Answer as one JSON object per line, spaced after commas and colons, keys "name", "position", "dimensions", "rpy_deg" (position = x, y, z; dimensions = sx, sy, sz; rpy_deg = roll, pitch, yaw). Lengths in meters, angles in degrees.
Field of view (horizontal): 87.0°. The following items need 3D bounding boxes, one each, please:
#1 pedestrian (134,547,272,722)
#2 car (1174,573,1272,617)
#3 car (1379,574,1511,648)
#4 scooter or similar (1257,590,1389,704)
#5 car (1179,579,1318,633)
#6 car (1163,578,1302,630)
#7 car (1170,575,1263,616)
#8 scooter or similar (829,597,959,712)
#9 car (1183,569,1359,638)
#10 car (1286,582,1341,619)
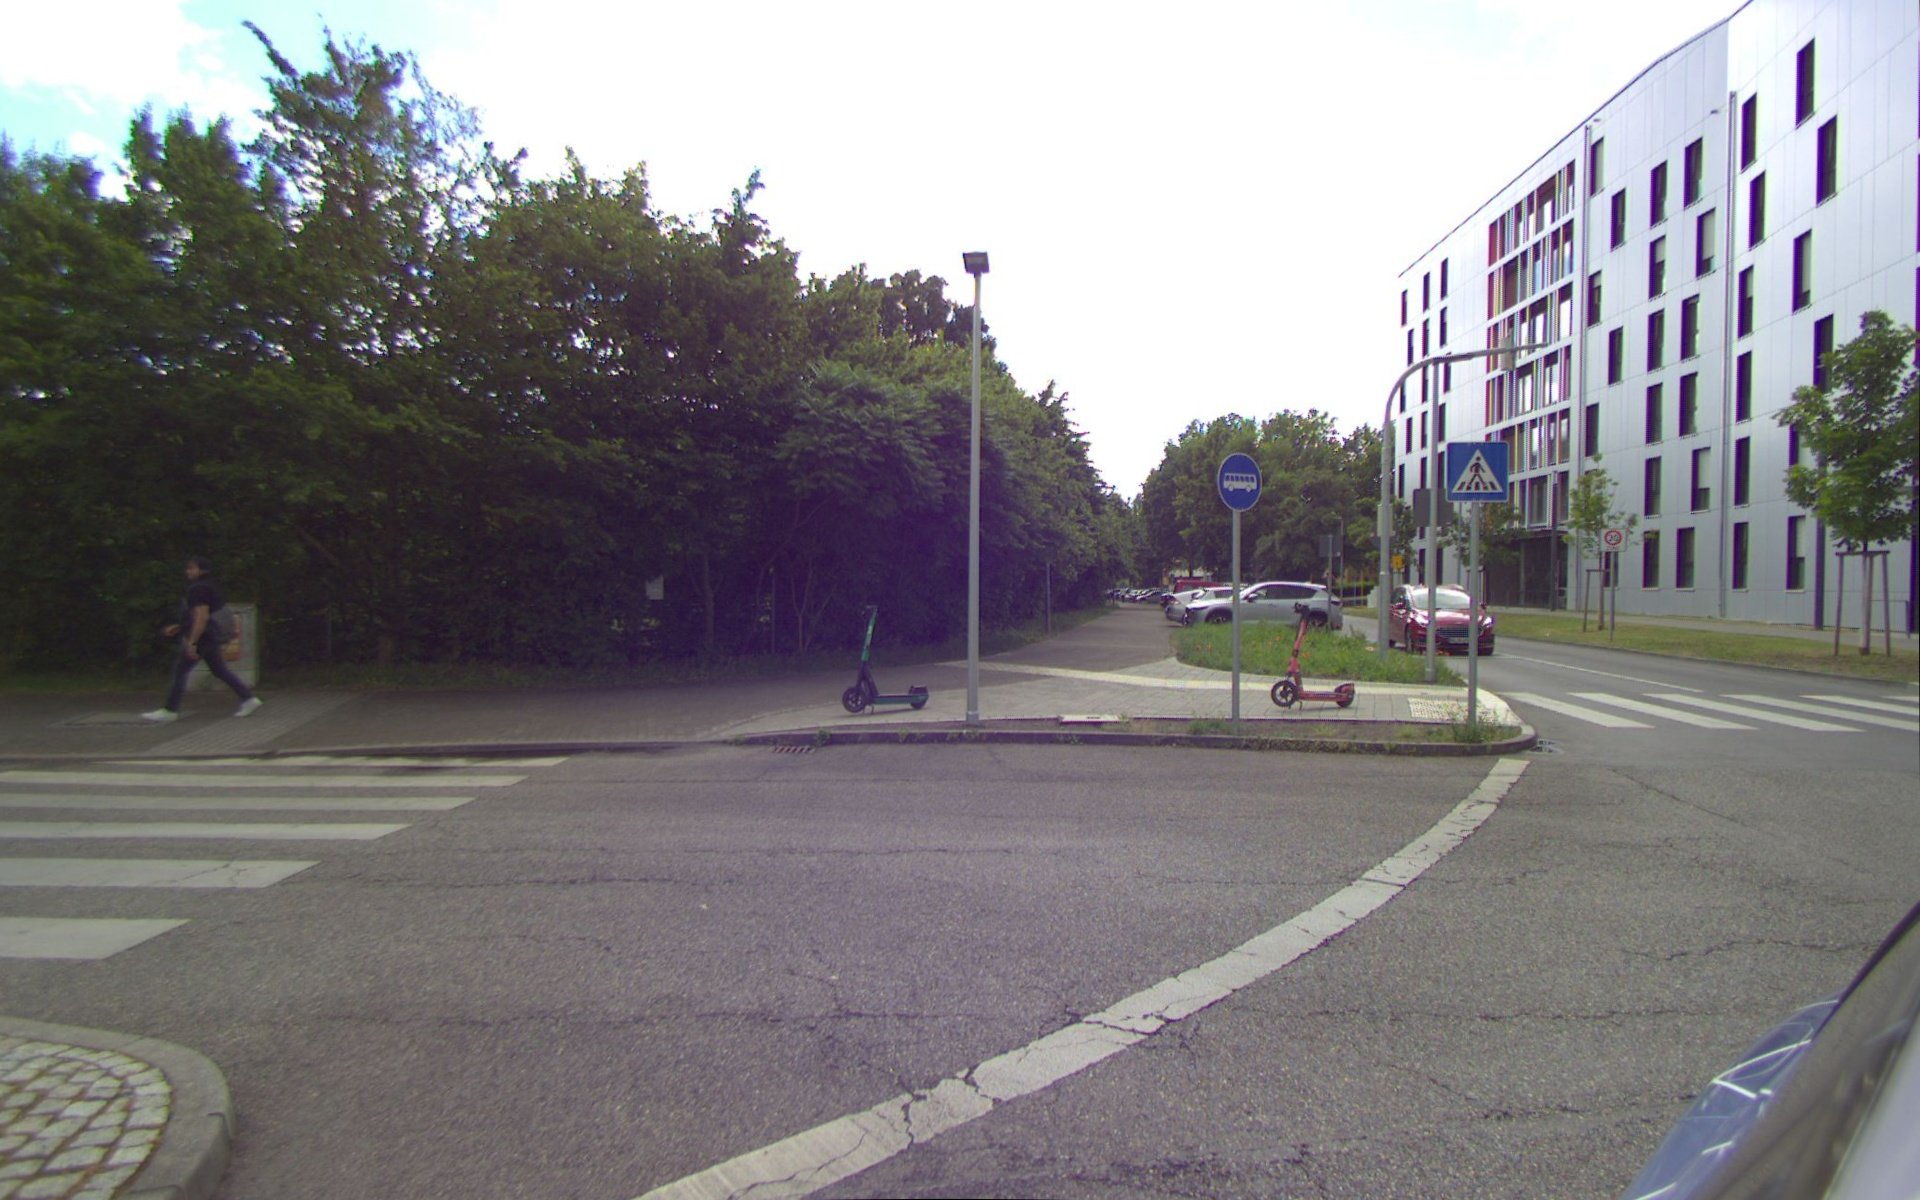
{"name": "pedestrian", "position": [-8.367, 0.357, 11.236], "dimensions": [0.964, 1.845, 0.859], "rpy_deg": [0, 0, -13]}
{"name": "car", "position": [12.195, -0.241, 47.214], "dimensions": [4.226, 1.916, 1.832], "rpy_deg": [1, 1, 10]}
{"name": "car", "position": [11.816, 0.217, 24.966], "dimensions": [1.904, 1.652, 4.229], "rpy_deg": [-1, 1, 11]}
{"name": "scooter or similar", "position": [4.410, 0.541, 12.293], "dimensions": [1.493, 1.329, 0.573], "rpy_deg": [0, 0, -20]}
{"name": "car", "position": [9.193, 0.180, 32.535], "dimensions": [4.101, 1.606, 1.791], "rpy_deg": [1, 1, 10]}
{"name": "car", "position": [9.322, 0.111, 34.931], "dimensions": [4.420, 1.582, 1.906], "rpy_deg": [2, 1, 10]}
{"name": "car", "position": [13.240, -0.235, 52.492], "dimensions": [4.492, 1.923, 1.879], "rpy_deg": [2, 1, 10]}
{"name": "scooter or similar", "position": [-0.795, 0.628, 12.390], "dimensions": [1.467, 1.290, 0.622], "rpy_deg": [-2, 1, -34]}
{"name": "car", "position": [9.015, 0.079, 29.741], "dimensions": [4.586, 1.774, 2.065], "rpy_deg": [2, 1, 8]}
{"name": "car", "position": [16.412, -0.025, 47.112], "dimensions": [1.789, 1.638, 3.988], "rpy_deg": [1, 1, 10]}
